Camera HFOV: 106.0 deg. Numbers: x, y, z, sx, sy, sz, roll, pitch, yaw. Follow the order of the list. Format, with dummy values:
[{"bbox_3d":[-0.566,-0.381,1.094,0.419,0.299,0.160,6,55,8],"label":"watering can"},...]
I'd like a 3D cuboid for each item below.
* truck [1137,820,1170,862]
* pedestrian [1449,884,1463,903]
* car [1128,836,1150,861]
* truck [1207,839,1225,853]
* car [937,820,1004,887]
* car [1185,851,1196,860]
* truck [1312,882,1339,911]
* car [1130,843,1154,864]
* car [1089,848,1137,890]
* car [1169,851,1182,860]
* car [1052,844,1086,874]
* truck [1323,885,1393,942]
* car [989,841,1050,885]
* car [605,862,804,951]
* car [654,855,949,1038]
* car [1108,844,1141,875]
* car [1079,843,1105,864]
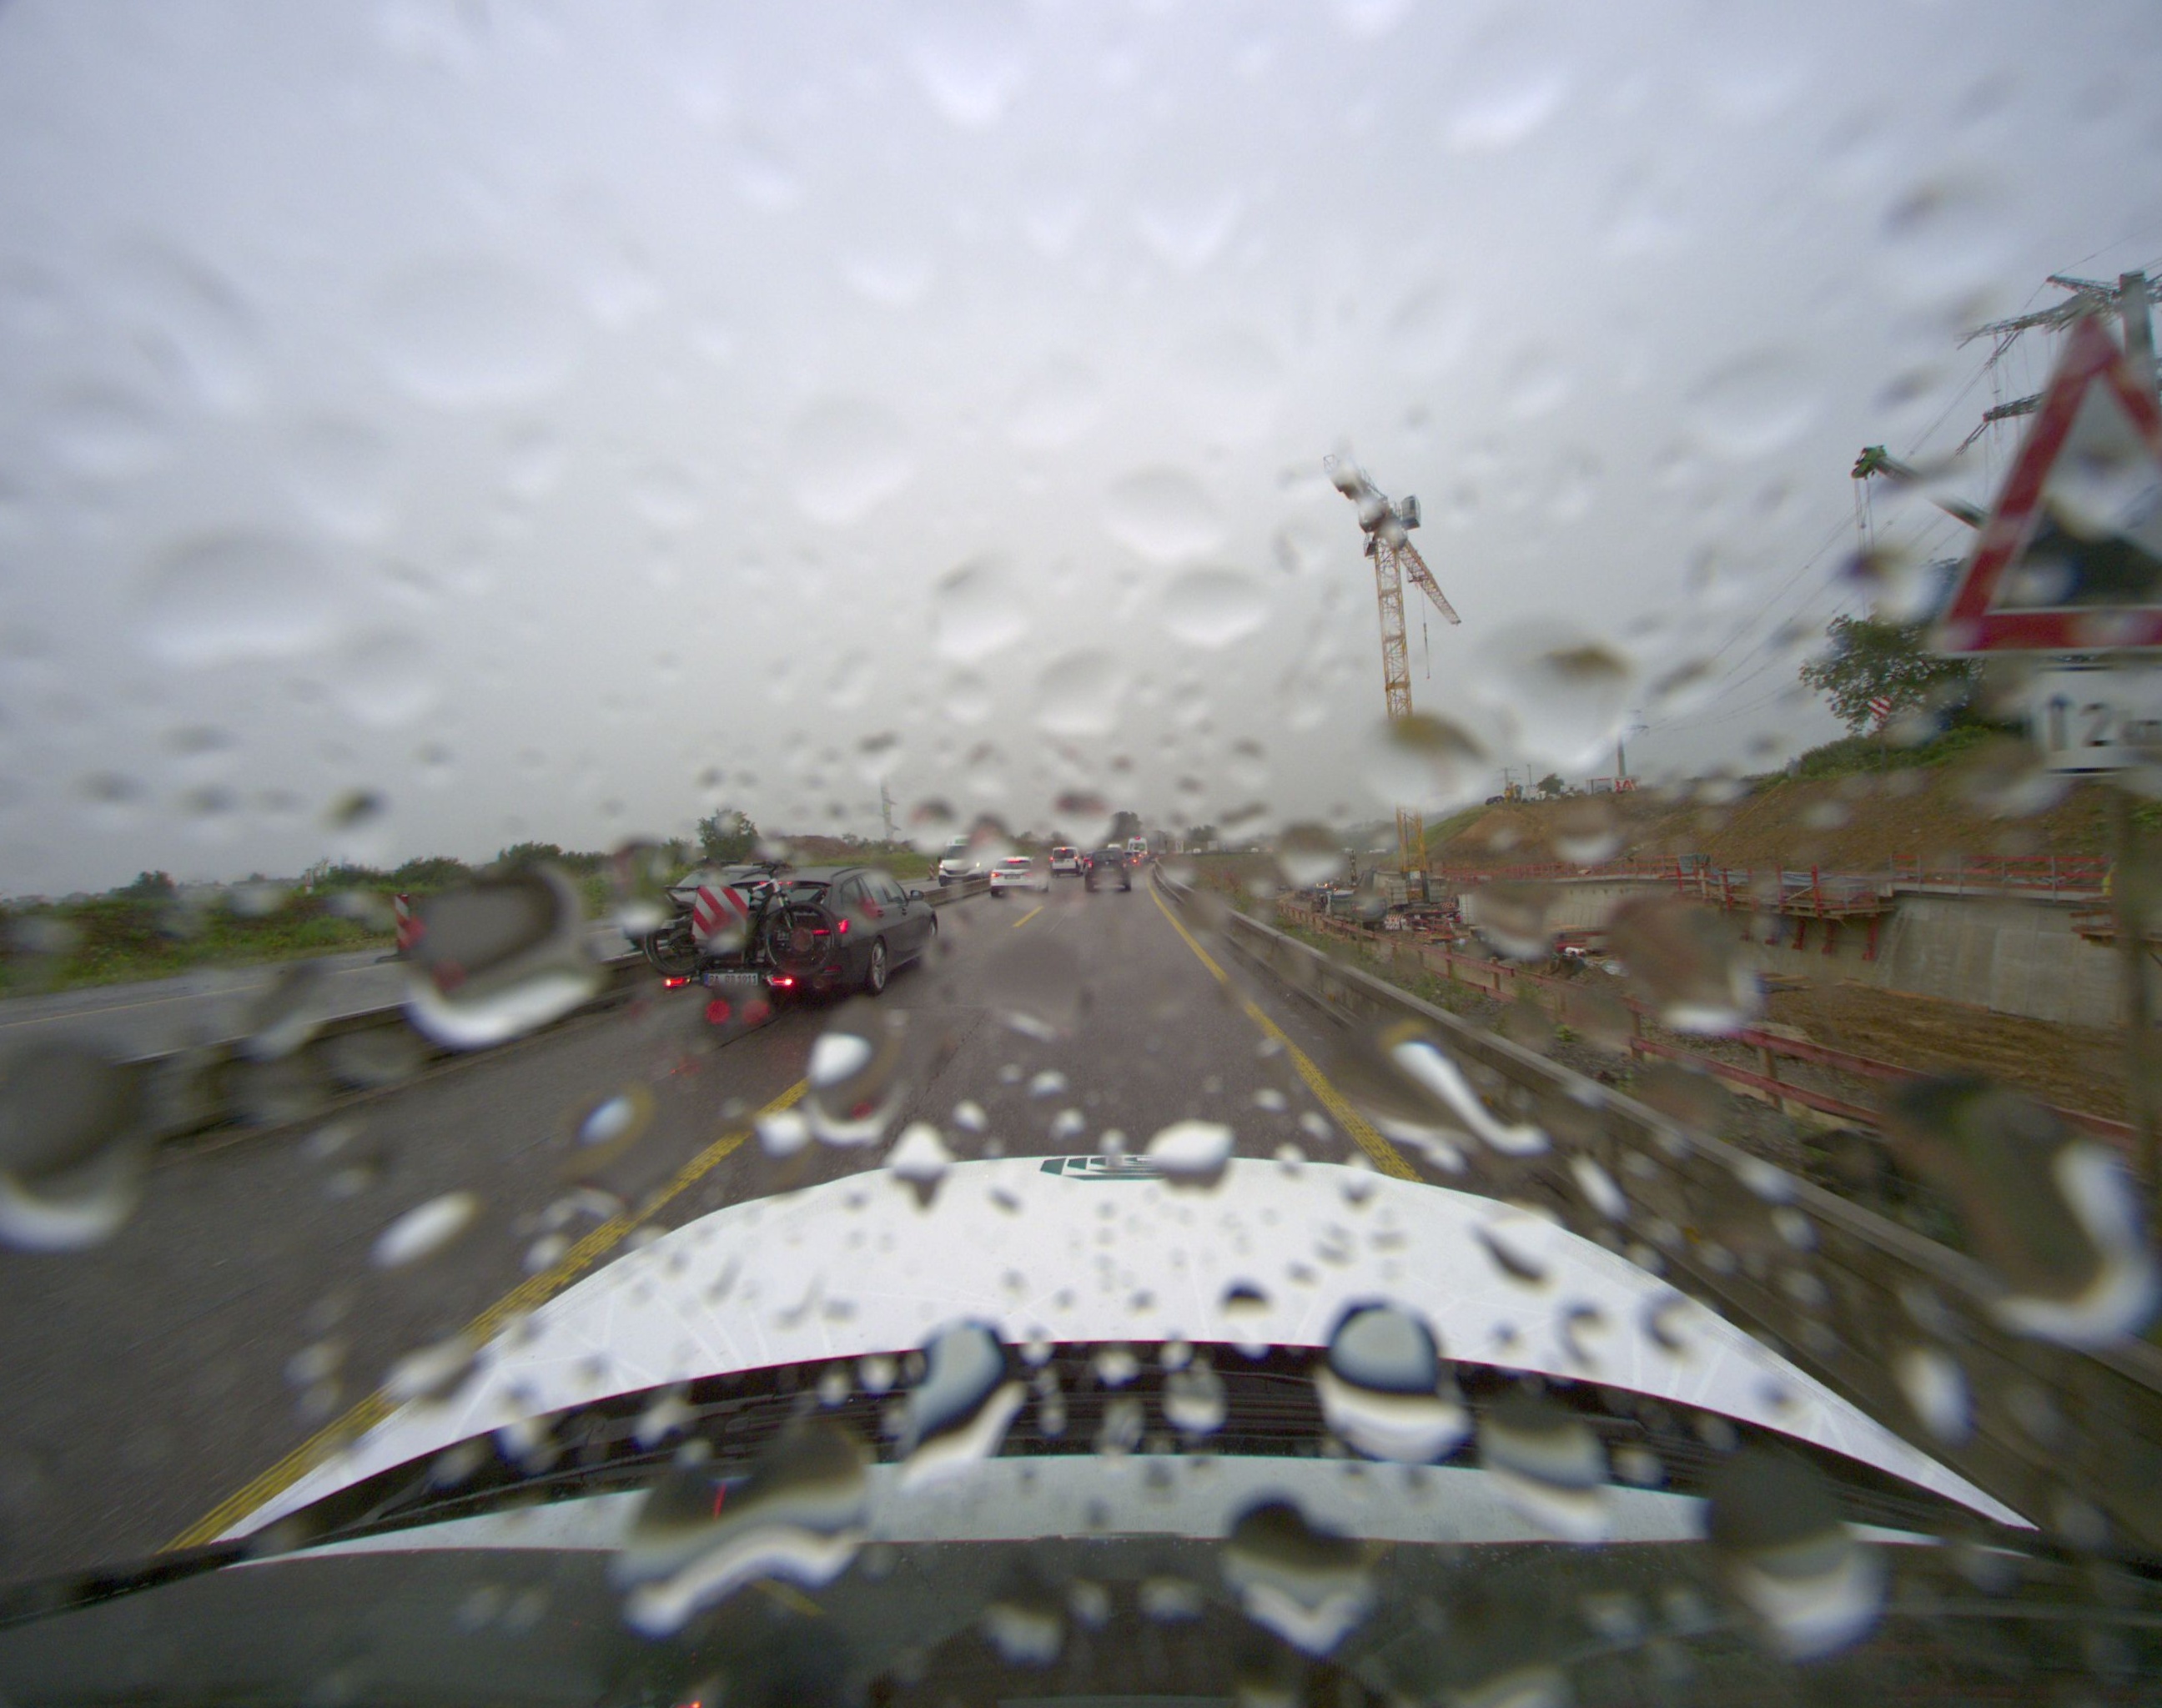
[{"bbox_3d":[9.539,-1.590,106.279,3.522,5.077,10.468,-1,-1,9],"label":"truck"},{"bbox_3d":[40.910,4.306,88.860,0.897,1.999,0.901,9,1,11],"label":"pedestrian"},{"bbox_3d":[6.060,-0.552,84.861,1.815,2.437,4.169,-1,-1,10],"label":"car"},{"bbox_3d":[37.752,-2.272,227.266,3.444,3.715,8.458,-2,0,19],"label":"truck"},{"bbox_3d":[-5.416,-0.031,40.926,1.985,3.045,7.176,-1,0,3],"label":"car"},{"bbox_3d":[27.543,0.385,204.231,2.019,2.256,4.177,-1,-1,18],"label":"car"},{"bbox_3d":[33.292,5.752,111.282,2.712,3.491,9.094,-1,-1,12],"label":"truck"},{"bbox_3d":[5.346,-0.034,71.059,1.816,1.815,4.008,-1,-1,7],"label":"car"},{"bbox_3d":[1.333,0.592,33.162,1.818,1.591,4.004,-1,-1,3],"label":"car"},{"bbox_3d":[21.099,0.318,181.052,2.019,2.113,4.177,-1,-1,18],"label":"car"},{"bbox_3d":[-0.698,0.318,50.852,1.818,1.815,4.003,-1,-1,3],"label":"car"},{"bbox_3d":[19.939,4.162,59.188,2.687,3.503,8.959,-1,-1,5],"label":"truck"},{"bbox_3d":[-2.194,0.340,30.156,1.819,1.499,4.001,-1,-1,2],"label":"car"},{"bbox_3d":[-7.482,0.950,16.817,1.740,1.495,4.751,-1,0,2],"label":"car"},{"bbox_3d":[-2.982,0.839,10.207,1.729,1.462,5.629,-1,2,0],"label":"car"},{"bbox_3d":[2.738,0.362,50.553,1.817,1.815,4.006,-1,-1,6],"label":"car"},{"bbox_3d":[0.989,-0.032,71.707,1.817,1.815,4.007,-1,-1,7],"label":"car"}]
